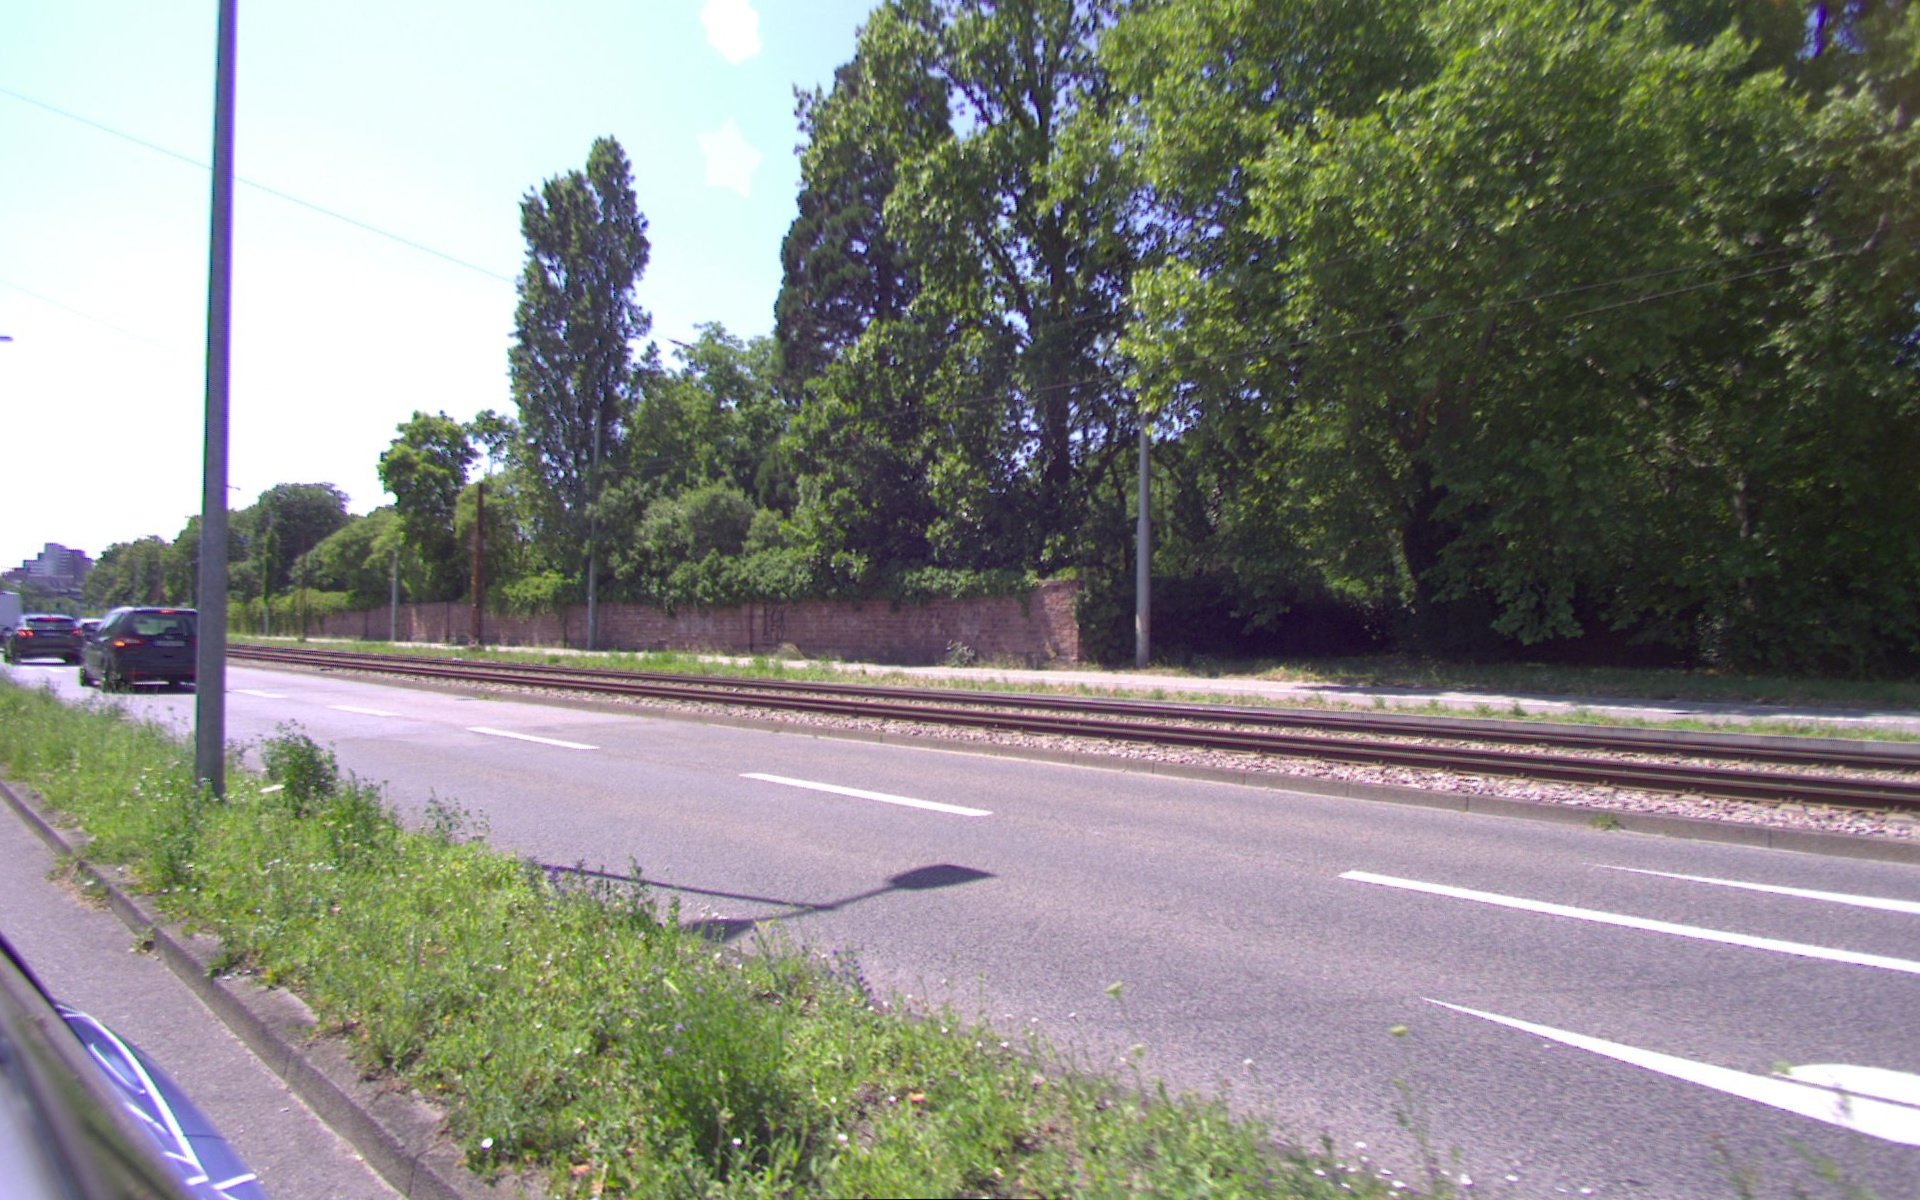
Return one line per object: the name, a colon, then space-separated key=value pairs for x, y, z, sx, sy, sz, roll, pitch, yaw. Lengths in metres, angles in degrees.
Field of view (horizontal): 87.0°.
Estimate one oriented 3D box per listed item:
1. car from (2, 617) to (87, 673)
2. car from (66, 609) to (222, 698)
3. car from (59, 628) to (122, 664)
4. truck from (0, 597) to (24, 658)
car: x=-30.937 y=1.507 z=34.156 sx=4.490 sy=1.770 sz=1.808 roll=-2 pitch=-4 yaw=44
car: x=-17.767 y=1.135 z=21.948 sx=4.791 sy=1.726 sz=1.810 roll=-2 pitch=-4 yaw=42
car: x=-40.368 y=2.131 z=46.964 sx=3.772 sy=1.597 sz=1.808 roll=-2 pitch=-4 yaw=44
truck: x=-45.550 y=1.288 z=47.329 sx=5.545 sy=2.769 sz=2.059 roll=-2 pitch=-4 yaw=42
